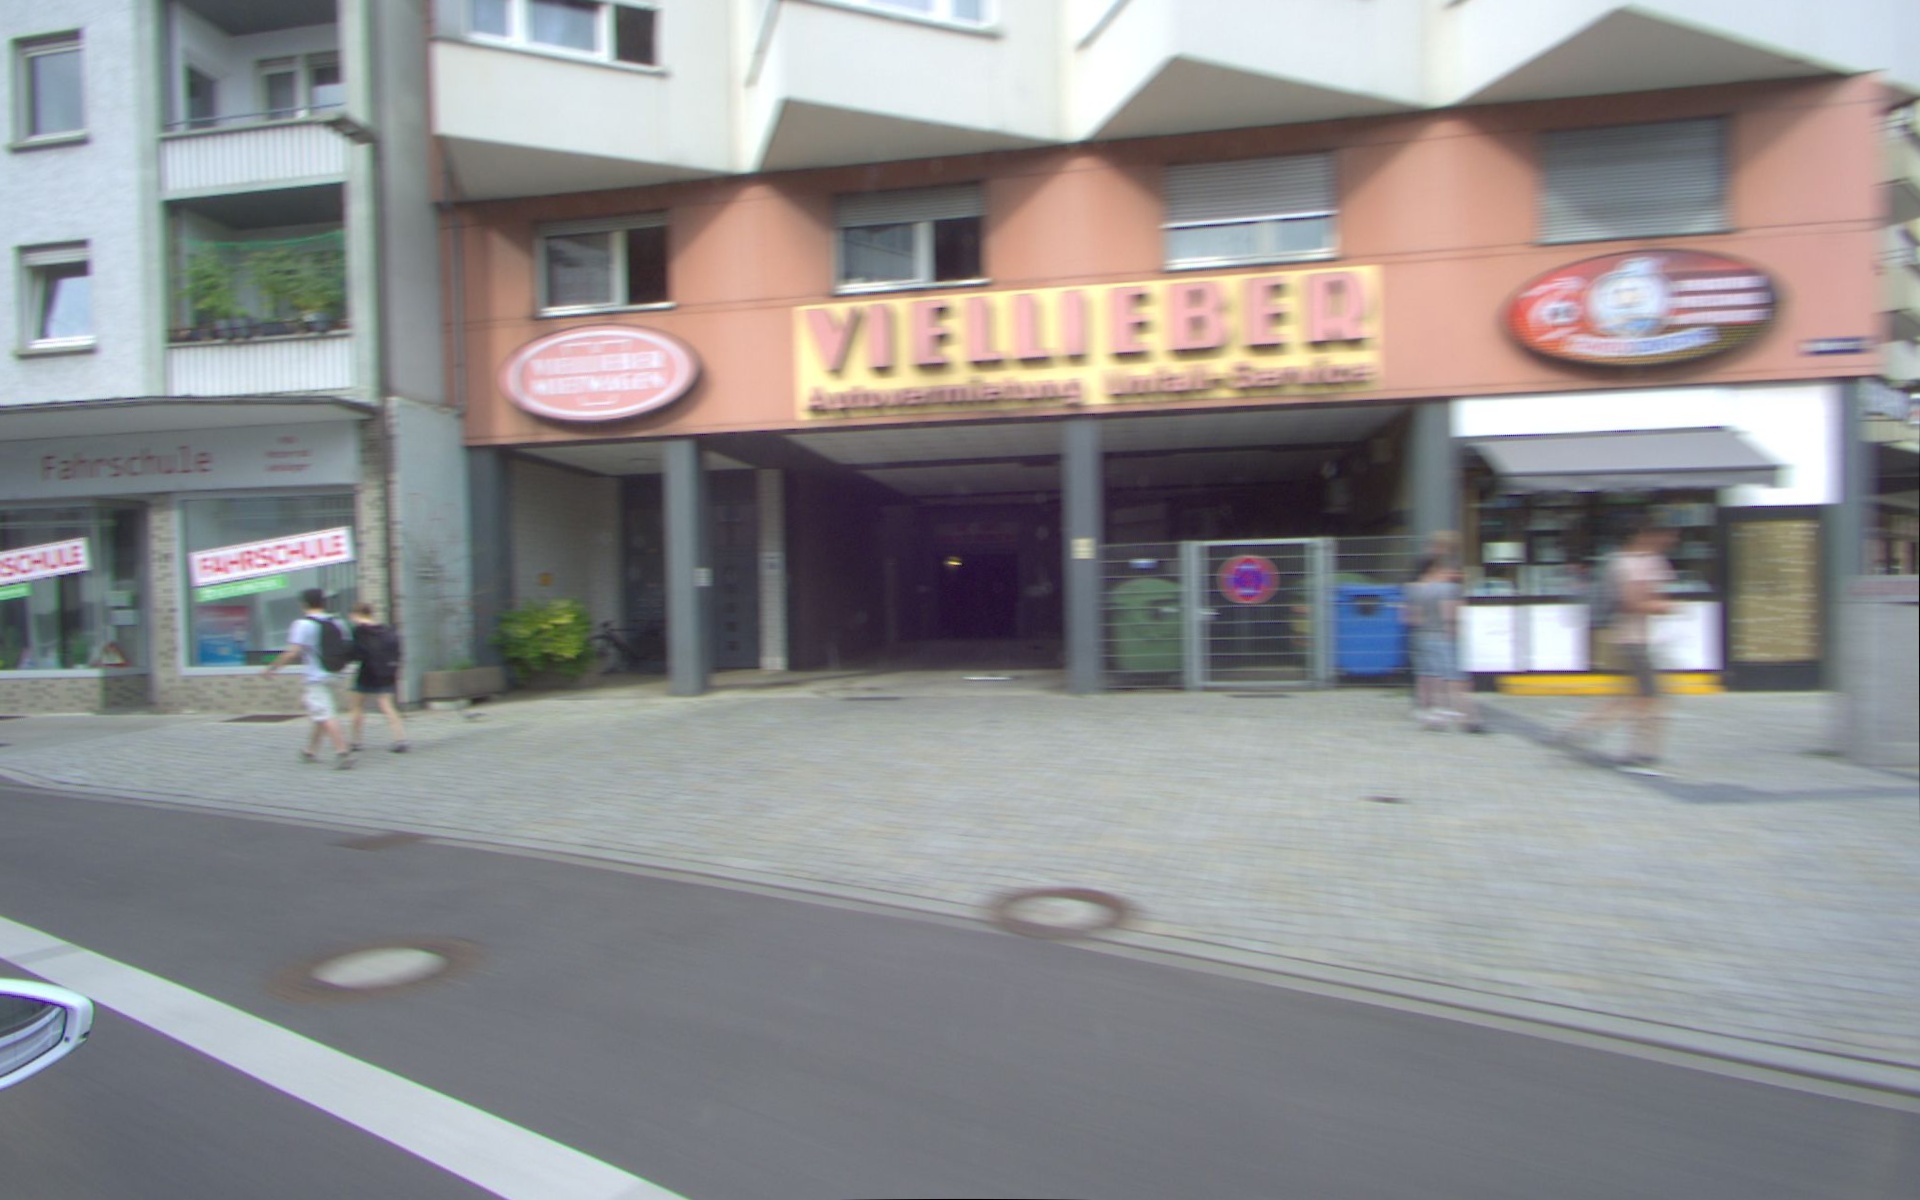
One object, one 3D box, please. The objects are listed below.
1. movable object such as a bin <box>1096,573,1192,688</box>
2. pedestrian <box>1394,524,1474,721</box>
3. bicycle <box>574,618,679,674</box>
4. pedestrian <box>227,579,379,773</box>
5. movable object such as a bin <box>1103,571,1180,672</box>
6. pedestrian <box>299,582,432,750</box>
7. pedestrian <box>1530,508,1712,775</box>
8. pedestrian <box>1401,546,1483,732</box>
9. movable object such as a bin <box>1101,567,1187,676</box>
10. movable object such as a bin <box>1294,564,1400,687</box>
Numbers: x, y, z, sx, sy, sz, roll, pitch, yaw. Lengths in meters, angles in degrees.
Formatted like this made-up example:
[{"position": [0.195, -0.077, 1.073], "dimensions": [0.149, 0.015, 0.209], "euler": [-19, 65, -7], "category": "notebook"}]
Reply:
[{"position": [2.459, 0.401, 13.504], "dimensions": [1.200, 1.480, 1.148], "euler": [-1, 0, 9], "category": "movable object such as a bin"}, {"position": [4.797, 0.211, 10.171], "dimensions": [0.579, 1.930, 0.673], "euler": [-1, 3, 11], "category": "pedestrian"}, {"position": [-5.606, 0.773, 16.857], "dimensions": [1.646, 0.908, 0.453], "euler": [-1, 1, 10], "category": "bicycle"}, {"position": [-6.368, 0.708, 9.743], "dimensions": [0.843, 1.775, 0.752], "euler": [-1, 4, 15], "category": "pedestrian"}, {"position": [2.865, 0.337, 15.919], "dimensions": [1.145, 1.536, 1.005], "euler": [-1, 1, 9], "category": "movable object such as a bin"}, {"position": [-6.213, 0.678, 10.491], "dimensions": [0.926, 1.692, 0.605], "euler": [-1, 4, 8], "category": "pedestrian"}, {"position": [4.875, 0.296, 7.447], "dimensions": [0.953, 1.878, 0.657], "euler": [-1, 3, 13], "category": "pedestrian"}, {"position": [4.508, 0.352, 9.397], "dimensions": [0.579, 1.696, 0.473], "euler": [-1, 3, 11], "category": "pedestrian"}, {"position": [2.707, 0.308, 14.848], "dimensions": [1.174, 1.536, 1.197], "euler": [-1, 0, 9], "category": "movable object such as a bin"}, {"position": [5.084, 0.326, 13.232], "dimensions": [1.068, 1.536, 1.146], "euler": [-1, 1, 9], "category": "movable object such as a bin"}]
